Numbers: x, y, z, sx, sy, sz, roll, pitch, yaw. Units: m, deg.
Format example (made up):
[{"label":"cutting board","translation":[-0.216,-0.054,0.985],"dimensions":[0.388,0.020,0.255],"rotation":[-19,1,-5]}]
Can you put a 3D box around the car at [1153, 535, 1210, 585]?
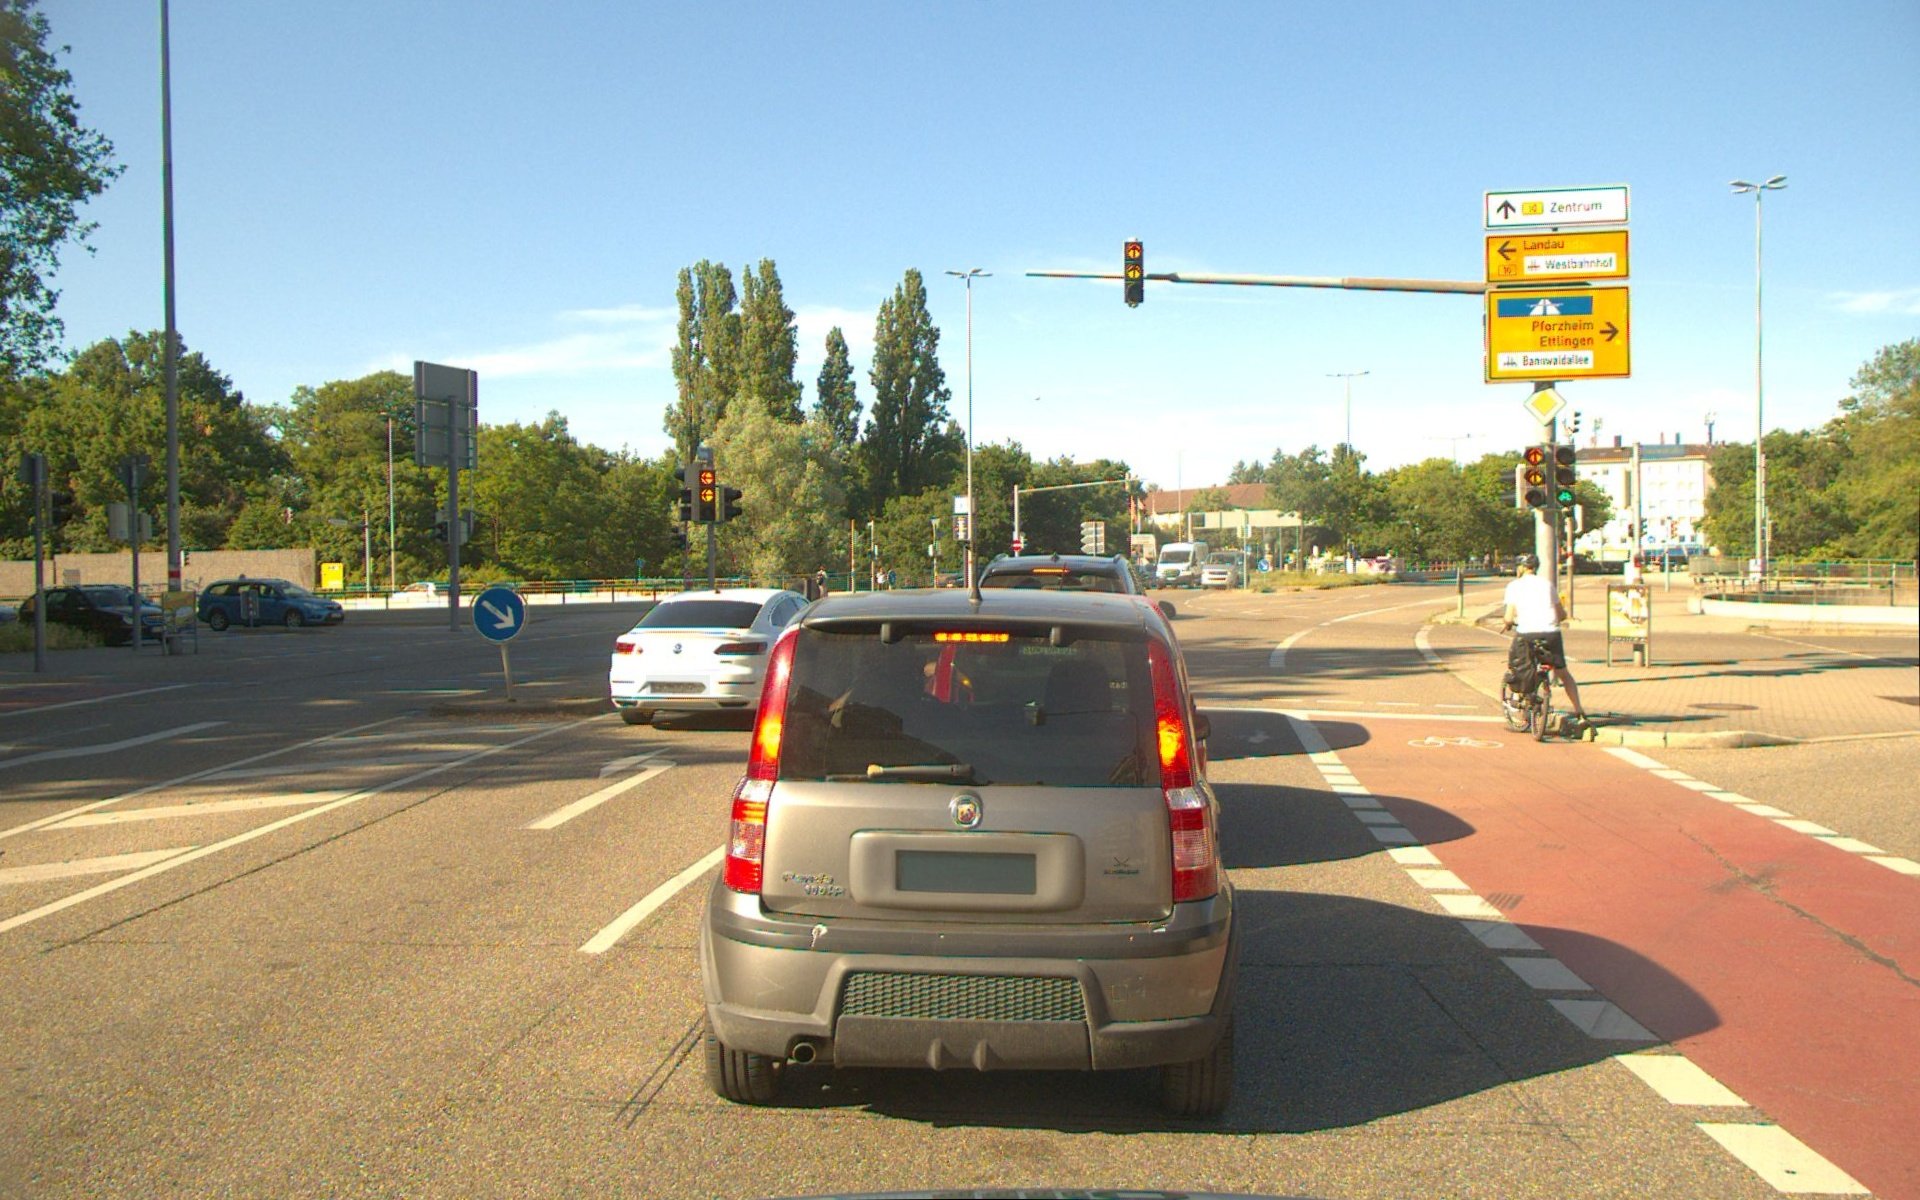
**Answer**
[{"label":"car","translation":[12.217,-2.194,90.964],"dimensions":[1.896,2.621,6.091],"rotation":[0,1,19]}]

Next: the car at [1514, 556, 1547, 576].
[{"label":"car","translation":[45.925,-2.741,133.062],"dimensions":[1.908,1.555,4.093],"rotation":[0,1,27]}]

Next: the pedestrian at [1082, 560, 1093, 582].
[{"label":"pedestrian","translation":[9.997,-2.263,129.660],"dimensions":[0.706,1.670,0.672],"rotation":[1,-1,24]}]

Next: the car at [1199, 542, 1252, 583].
[{"label":"car","translation":[13.990,-1.976,87.002],"dimensions":[1.896,2.043,4.933],"rotation":[0,1,19]}]

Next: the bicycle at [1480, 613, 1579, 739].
[{"label":"bicycle","translation":[5.671,0.721,16.550],"dimensions":[0.676,1.121,1.828],"rotation":[1,1,11]}]

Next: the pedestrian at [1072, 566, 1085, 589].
[{"label":"pedestrian","translation":[9.010,-1.721,125.544],"dimensions":[0.777,1.693,0.626],"rotation":[0,-1,40]}]

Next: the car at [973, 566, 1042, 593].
[{"label":"car","translation":[2.953,-1.303,102.085],"dimensions":[4.292,1.562,1.758],"rotation":[-2,3,-42]}]

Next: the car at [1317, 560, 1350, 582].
[{"label":"car","translation":[28.776,-2.225,127.349],"dimensions":[1.896,1.650,4.508],"rotation":[0,1,19]}]

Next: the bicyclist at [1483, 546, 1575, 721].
[{"label":"bicyclist","translation":[5.673,0.308,16.549],"dimensions":[0.708,1.688,1.114],"rotation":[0,1,11]}]

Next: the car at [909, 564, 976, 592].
[{"label":"car","translation":[-1.106,-1.395,104.752],"dimensions":[3.961,1.653,1.874],"rotation":[1,0,-39]}]

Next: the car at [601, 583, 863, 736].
[{"label":"car","translation":[-2.369,0.556,18.385],"dimensions":[1.742,1.439,4.323],"rotation":[0,1,8]}]

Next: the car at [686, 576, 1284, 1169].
[{"label":"car","translation":[0.208,0.703,6.329],"dimensions":[1.583,1.542,3.822],"rotation":[-1,1,4]}]

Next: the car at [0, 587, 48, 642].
[{"label":"car","translation":[-26.376,0.378,43.546],"dimensions":[4.404,1.381,1.879],"rotation":[0,1,24]}]

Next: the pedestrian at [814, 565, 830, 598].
[{"label":"pedestrian","translation":[-6.245,-0.844,74.716],"dimensions":[0.666,1.488,0.702],"rotation":[-1,1,-7]}]

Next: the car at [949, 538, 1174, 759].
[{"label":"car","translation":[1.121,0.373,16.187],"dimensions":[1.904,1.872,4.156],"rotation":[-1,1,7]}]

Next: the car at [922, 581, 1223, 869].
[{"label":"car","translation":[0.743,0.649,10.683],"dimensions":[1.583,1.488,3.753],"rotation":[-1,1,4]}]

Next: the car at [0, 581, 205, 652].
[{"label":"car","translation":[-21.041,0.395,40.244],"dimensions":[4.668,1.649,1.953],"rotation":[0,1,15]}]

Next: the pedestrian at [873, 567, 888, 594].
[{"label":"pedestrian","translation":[-4.658,-1.146,97.128],"dimensions":[0.698,1.574,0.725],"rotation":[-2,-1,-16]}]

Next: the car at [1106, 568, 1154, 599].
[{"label":"car","translation":[9.450,-0.935,91.911],"dimensions":[1.896,1.534,4.003],"rotation":[-2,1,17]}]

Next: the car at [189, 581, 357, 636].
[{"label":"car","translation":[-20.743,0.240,50.012],"dimensions":[4.348,1.567,1.953],"rotation":[-1,1,13]}]

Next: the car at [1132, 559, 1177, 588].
[{"label":"car","translation":[11.621,-1.606,98.545],"dimensions":[1.773,1.568,4.619],"rotation":[-2,1,18]}]

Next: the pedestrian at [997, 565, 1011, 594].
[{"label":"pedestrian","translation":[2.438,-1.128,91.839],"dimensions":[0.547,1.574,0.573],"rotation":[-2,0,-16]}]

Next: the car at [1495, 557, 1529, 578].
[{"label":"car","translation":[42.441,-2.519,127.047],"dimensions":[1.907,1.555,4.093],"rotation":[0,1,27]}]
